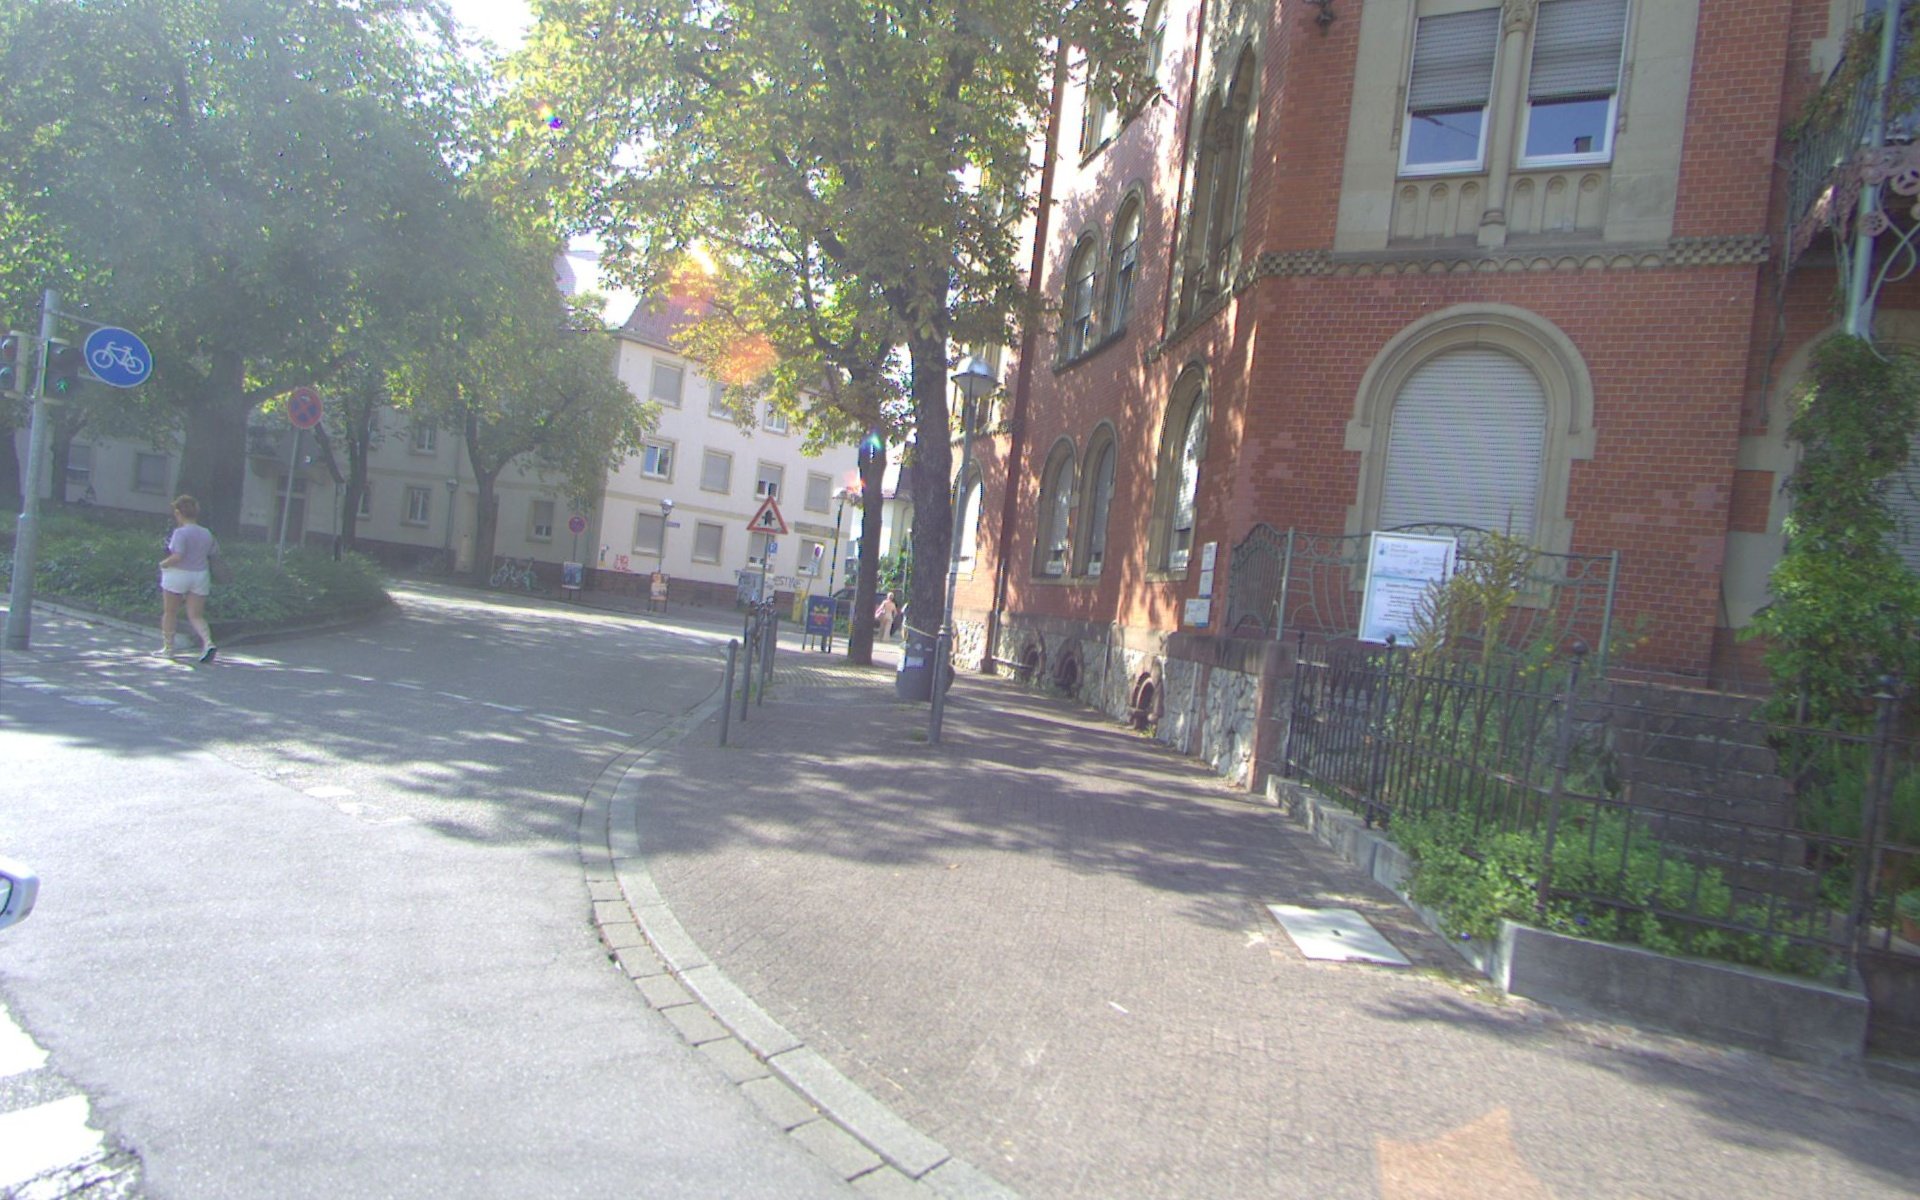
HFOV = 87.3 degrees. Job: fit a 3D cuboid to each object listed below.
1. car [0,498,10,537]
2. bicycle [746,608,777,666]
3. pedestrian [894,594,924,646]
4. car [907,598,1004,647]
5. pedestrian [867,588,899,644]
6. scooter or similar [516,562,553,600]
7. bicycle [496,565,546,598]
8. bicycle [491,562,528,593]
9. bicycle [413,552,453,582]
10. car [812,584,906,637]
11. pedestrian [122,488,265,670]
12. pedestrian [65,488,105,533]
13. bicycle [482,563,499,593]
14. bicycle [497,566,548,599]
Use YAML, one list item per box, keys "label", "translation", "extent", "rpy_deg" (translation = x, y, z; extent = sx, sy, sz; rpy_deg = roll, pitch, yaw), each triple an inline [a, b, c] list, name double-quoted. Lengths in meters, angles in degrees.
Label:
- label: "car"
  translation: [-35.553, -3.146, 34.144]
  extent: [4.272, 1.337, 1.992]
  rpy_deg: [7, 0, -18]
- label: "bicycle"
  translation: [-3.900, 0.696, 19.669]
  extent: [0.419, 0.990, 1.765]
  rpy_deg: [6, 0, -14]
- label: "pedestrian"
  translation: [-1.673, 0.657, 32.958]
  extent: [0.762, 1.586, 0.894]
  rpy_deg: [7, 1, 0]
- label: "car"
  translation: [-0.229, 0.956, 43.269]
  extent: [3.941, 1.632, 1.590]
  rpy_deg: [7, 0, 39]
- label: "pedestrian"
  translation: [-2.565, 0.526, 33.506]
  extent: [0.761, 1.762, 0.894]
  rpy_deg: [7, 1, 2]
- label: "scooter or similar"
  translation: [-14.949, -0.662, 35.351]
  extent: [1.061, 1.214, 0.455]
  rpy_deg: [3, 4, -33]
- label: "bicycle"
  translation: [-15.630, -0.660, 35.827]
  extent: [0.420, 0.990, 1.549]
  rpy_deg: [7, 0, 40]
- label: "bicycle"
  translation: [-16.561, -0.811, 36.998]
  extent: [0.418, 1.051, 1.556]
  rpy_deg: [7, 0, 7]
- label: "bicycle"
  translation: [-20.539, -1.272, 39.229]
  extent: [1.527, 0.990, 0.425]
  rpy_deg: [7, 1, 23]
- label: "car"
  translation: [-4.051, 0.381, 39.807]
  extent: [1.585, 1.632, 3.954]
  rpy_deg: [7, 0, -41]
- label: "pedestrian"
  translation: [-7.969, -0.204, 10.487]
  extent: [0.757, 1.752, 0.752]
  rpy_deg: [7, 1, 16]
- label: "pedestrian"
  translation: [-36.950, -3.773, 42.500]
  extent: [0.879, 1.762, 0.775]
  rpy_deg: [6, 1, -8]
- label: "bicycle"
  translation: [-16.863, -0.792, 36.108]
  extent: [0.420, 0.990, 1.545]
  rpy_deg: [6, 0, -26]
- label: "bicycle"
  translation: [-15.435, -0.626, 35.550]
  extent: [0.420, 0.990, 1.549]
  rpy_deg: [7, 0, 40]
